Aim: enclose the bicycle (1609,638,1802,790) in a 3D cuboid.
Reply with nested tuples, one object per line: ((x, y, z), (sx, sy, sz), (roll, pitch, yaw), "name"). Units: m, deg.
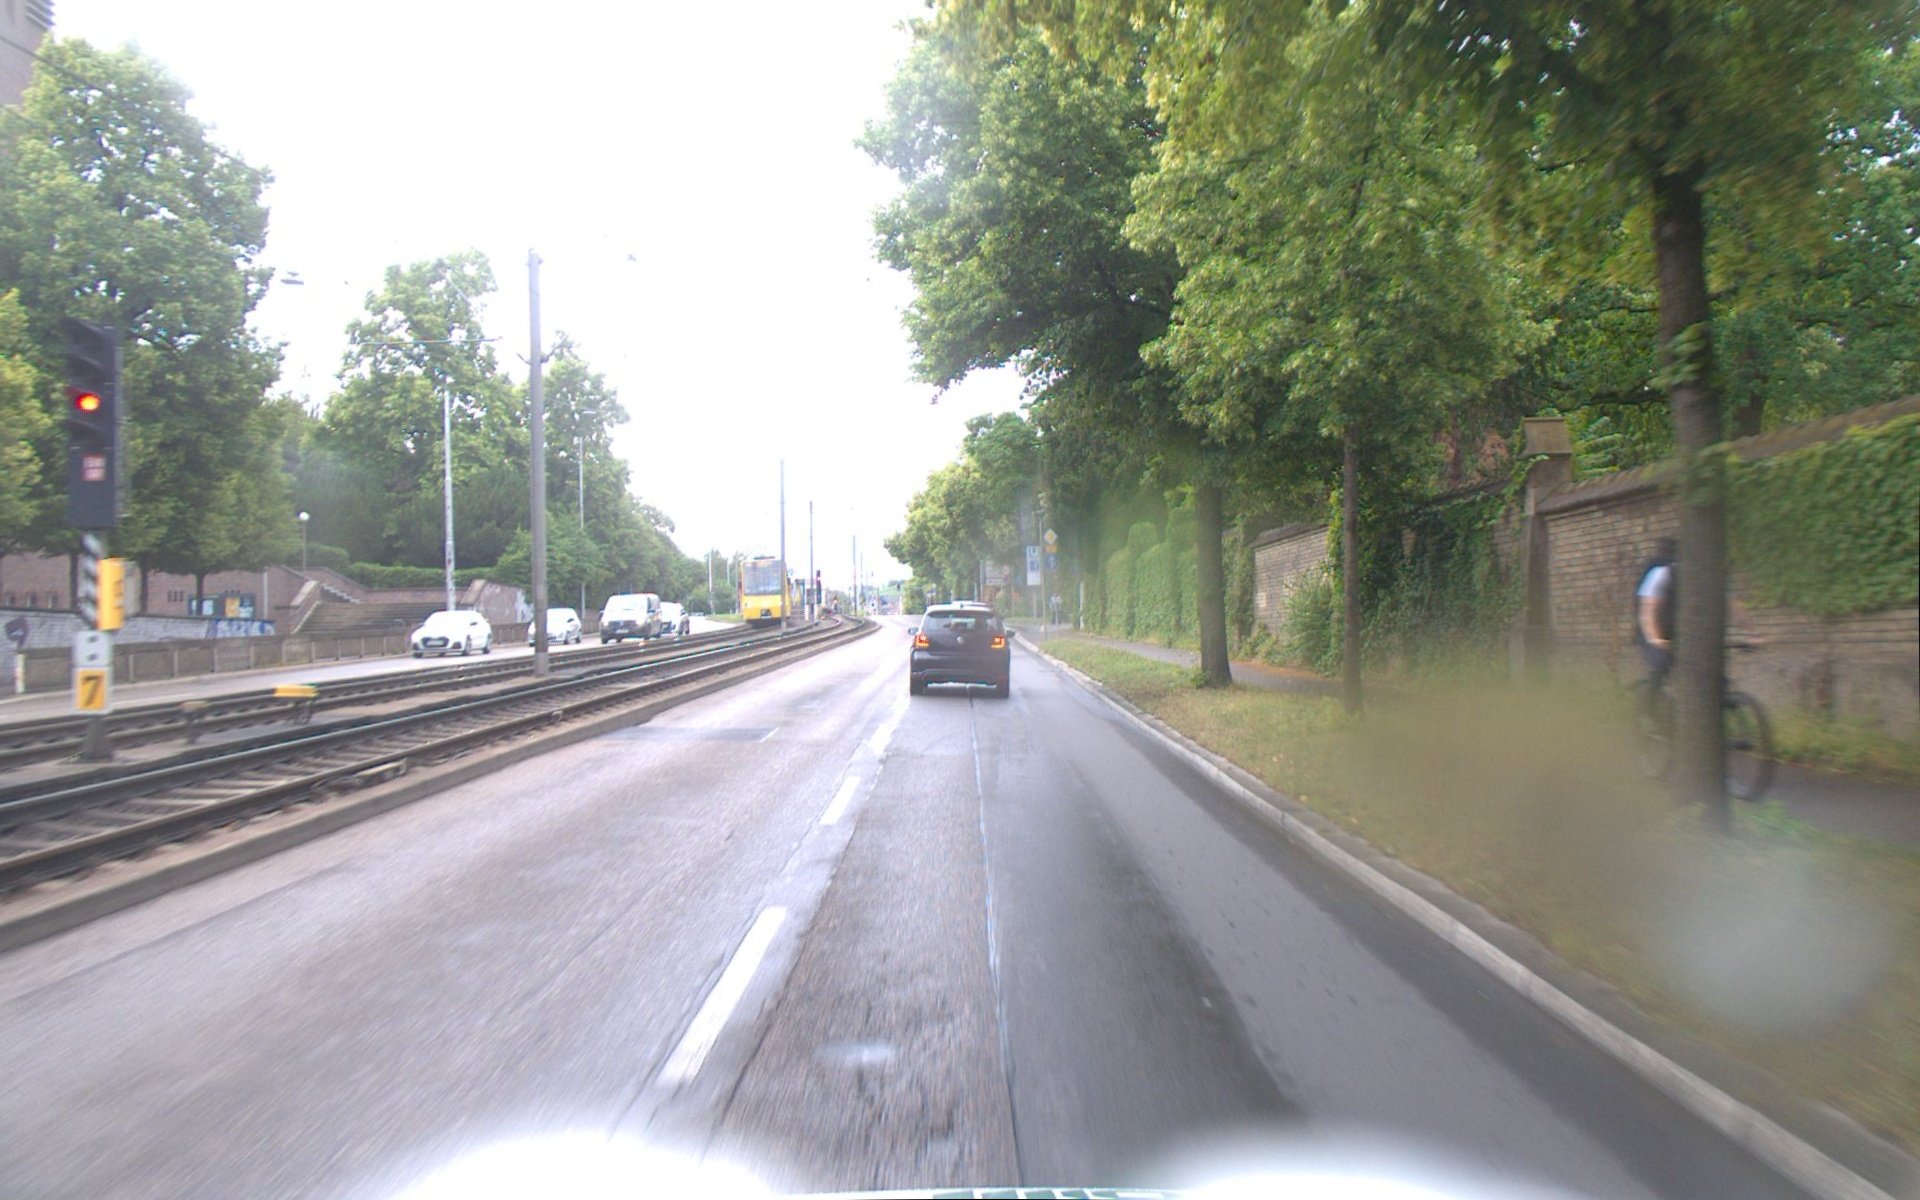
((5.260, 0.765, 11.801), (0.399, 0.918, 2.098), (-1, 0, -1), "bicycle")

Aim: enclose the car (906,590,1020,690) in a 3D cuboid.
((-0.001, 0.613, 27.733), (1.758, 1.511, 3.963), (1, 1, -2), "car")

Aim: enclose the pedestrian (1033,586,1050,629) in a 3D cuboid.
((5.748, 0.515, 116.962), (1.140, 3.029, 0.948), (1, 0, -1), "pedestrian")

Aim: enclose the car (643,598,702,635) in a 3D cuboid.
((-13.244, 0.732, 76.406), (1.953, 1.603, 4.534), (1, 0, -1), "car")

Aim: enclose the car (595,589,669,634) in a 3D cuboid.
((-13.023, 0.420, 65.943), (1.953, 1.691, 5.126), (1, 0, -1), "car")

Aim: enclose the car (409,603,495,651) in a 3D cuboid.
((-16.359, 0.852, 53.467), (1.584, 1.459, 3.999), (1, 0, -1), "car")

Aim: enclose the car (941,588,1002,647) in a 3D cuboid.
((0.314, 0.469, 47.007), (1.641, 1.557, 3.722), (-1, 0, 0), "car")

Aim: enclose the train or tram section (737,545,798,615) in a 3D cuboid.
((-10.559, -1.072, 91.355), (2.776, 3.668, 9.264), (1, 0, -3), "train or tram section")

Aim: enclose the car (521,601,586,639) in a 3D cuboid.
((-16.703, 0.787, 68.119), (1.693, 1.469, 3.999), (1, 0, -1), "car")

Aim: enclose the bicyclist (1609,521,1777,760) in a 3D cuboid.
((5.260, 0.276, 11.925), (0.747, 1.644, 0.998), (-1, 0, -1), "bicyclist")
